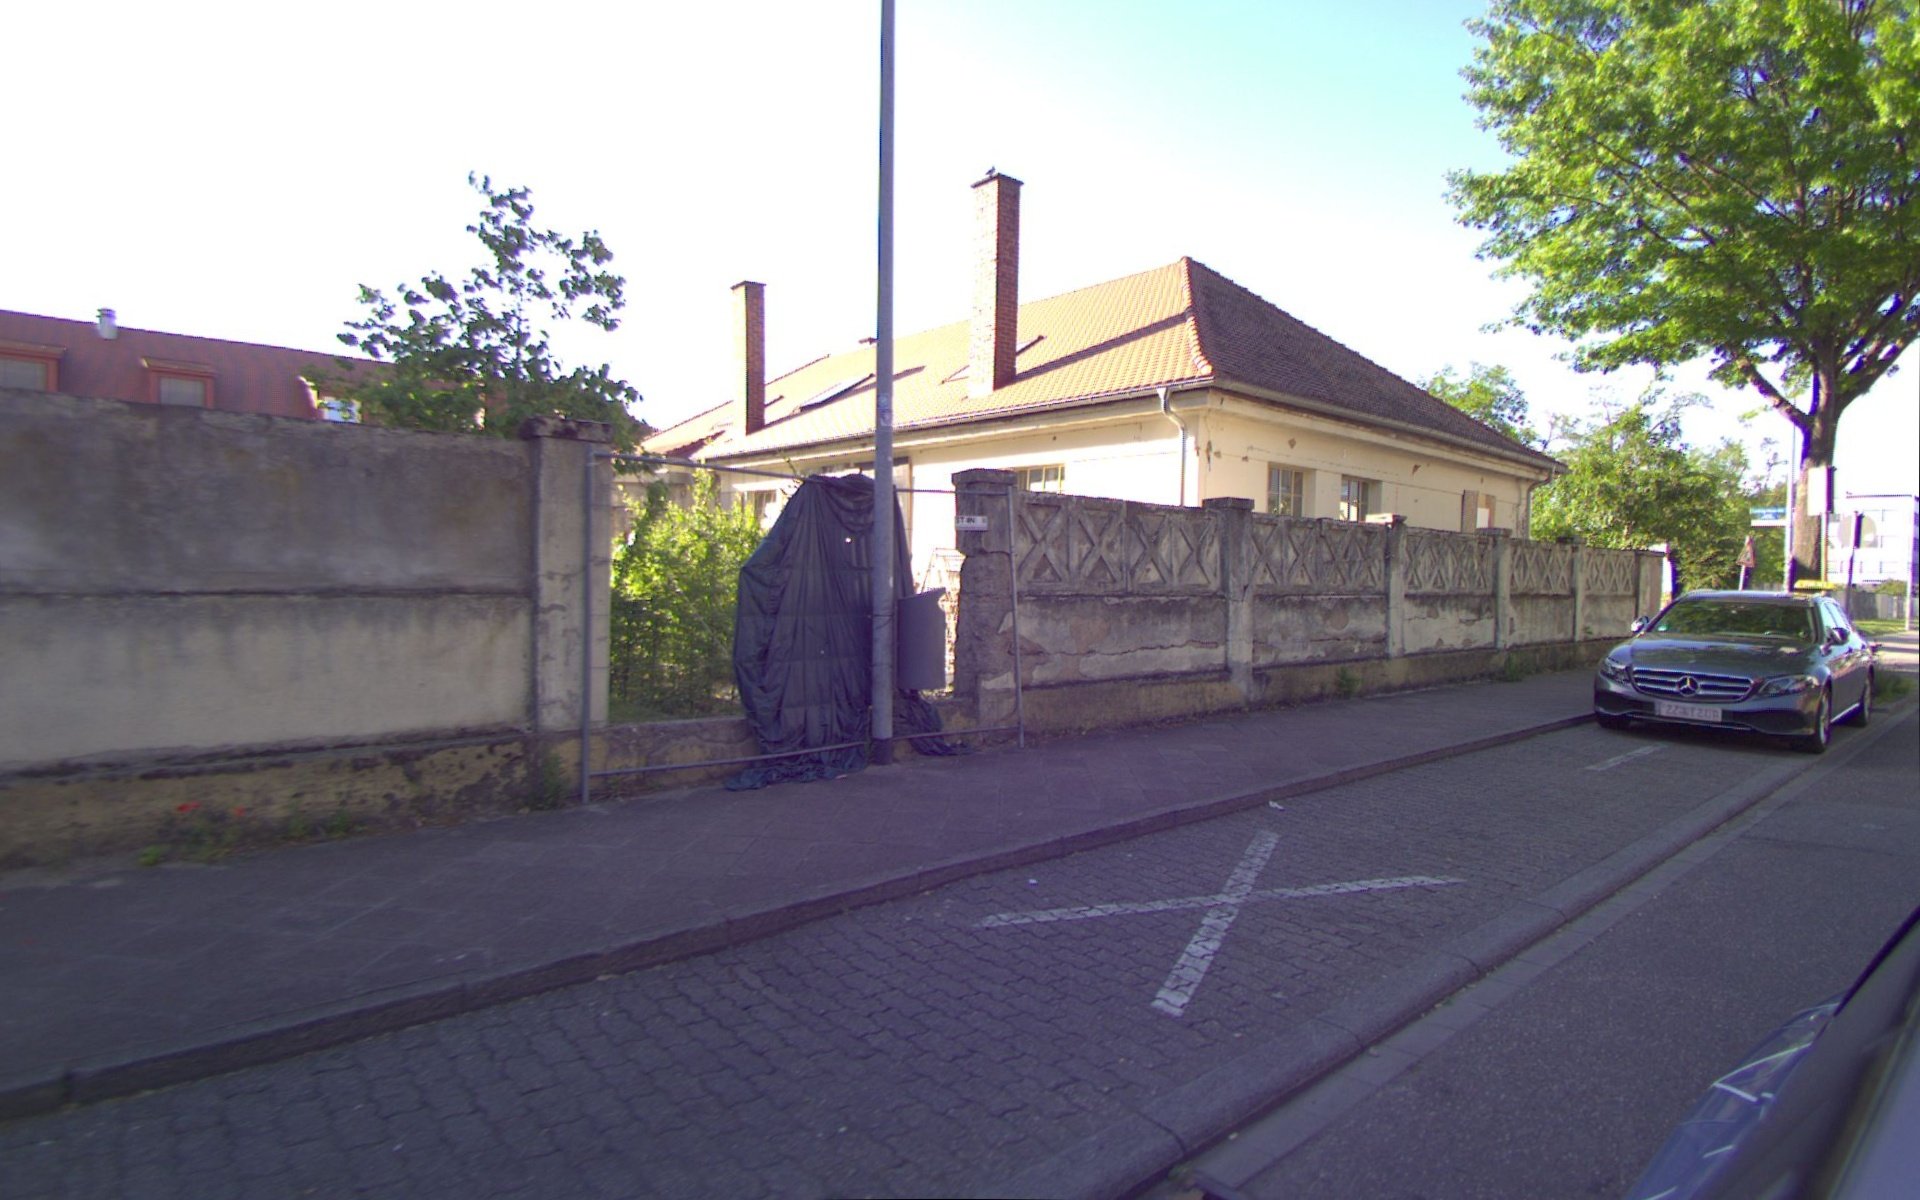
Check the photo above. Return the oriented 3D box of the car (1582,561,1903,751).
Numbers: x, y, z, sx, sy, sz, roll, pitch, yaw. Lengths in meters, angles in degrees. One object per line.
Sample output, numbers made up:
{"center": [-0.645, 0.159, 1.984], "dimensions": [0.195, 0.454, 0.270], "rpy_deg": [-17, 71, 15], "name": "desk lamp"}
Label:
{"center": [8.410, 0.442, 10.746], "dimensions": [4.223, 1.621, 1.886], "rpy_deg": [0, 2, -41], "name": "car"}
